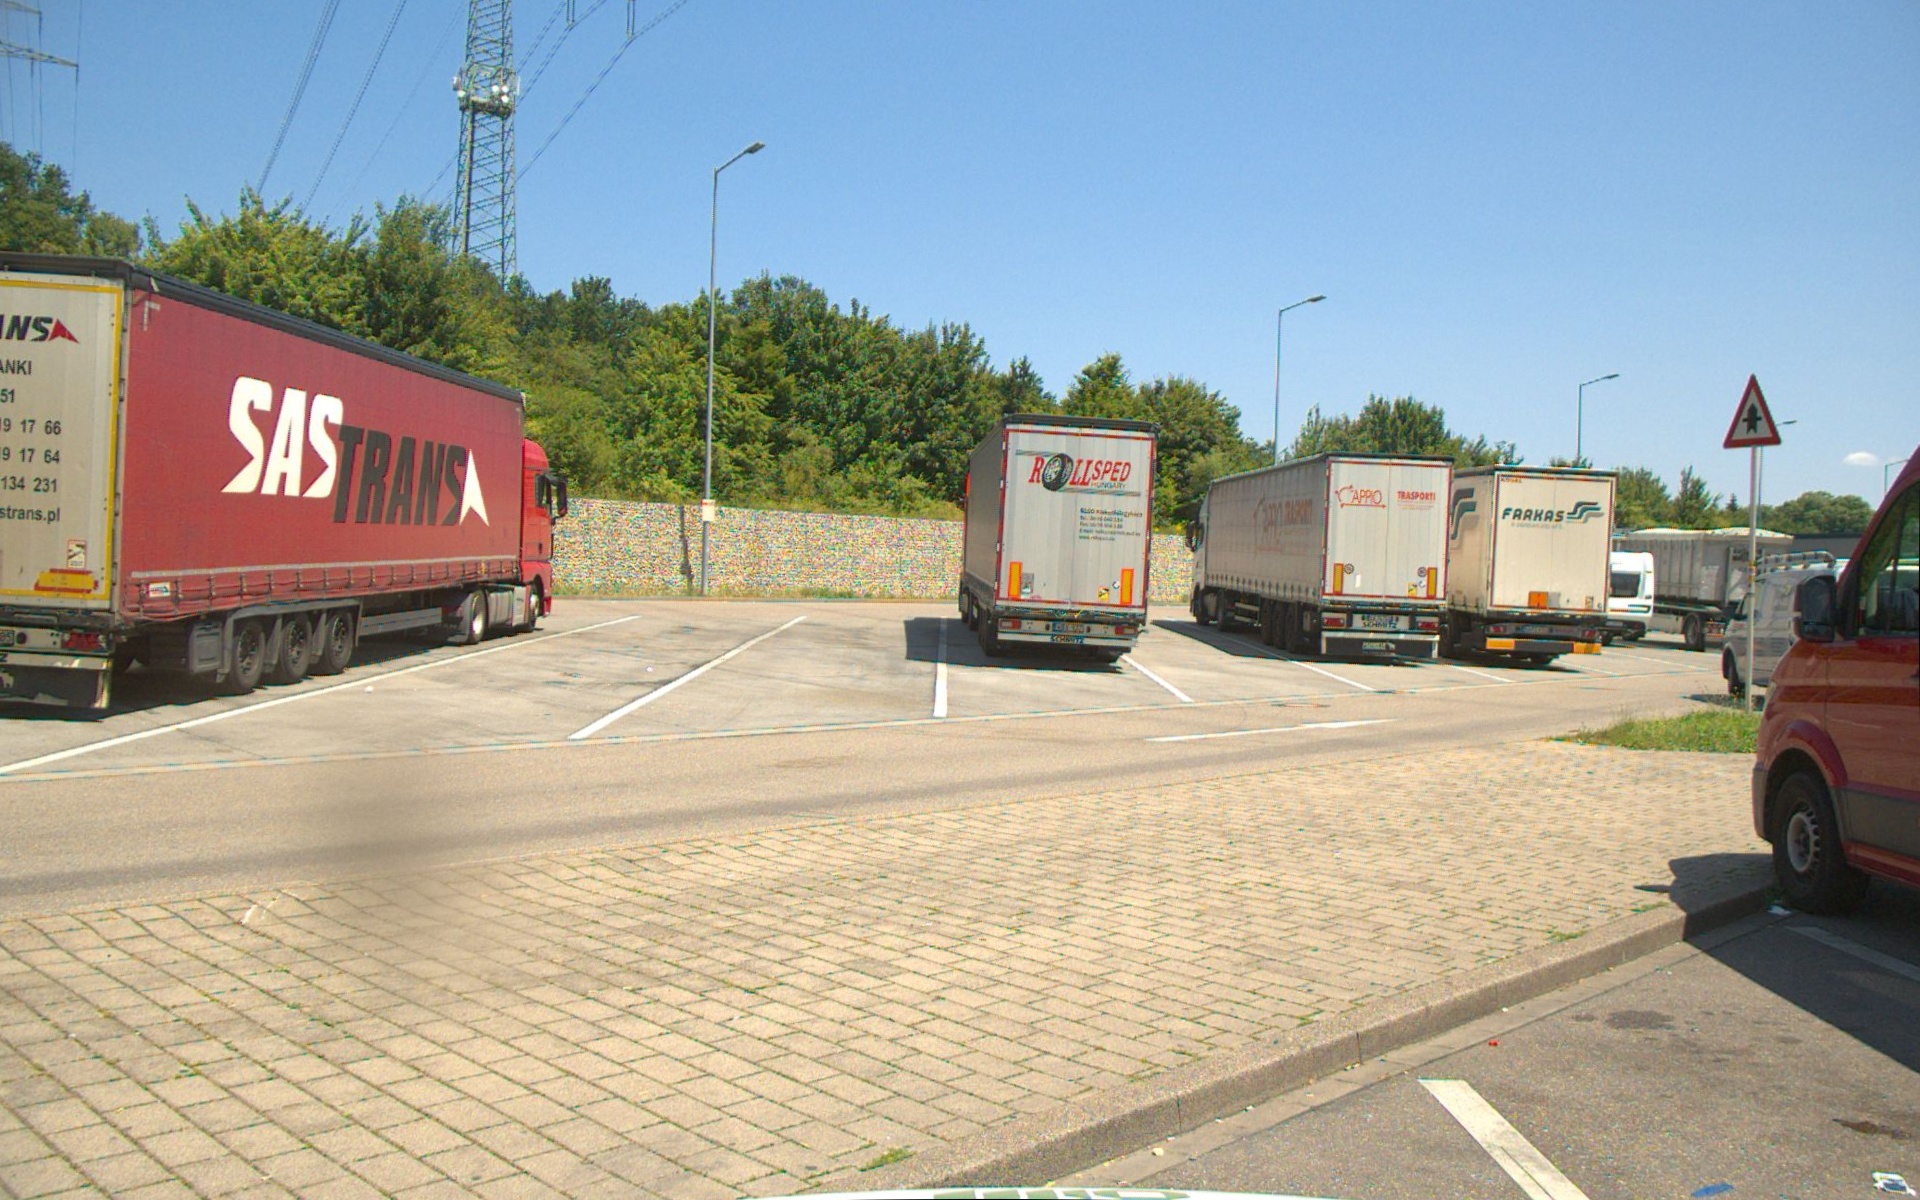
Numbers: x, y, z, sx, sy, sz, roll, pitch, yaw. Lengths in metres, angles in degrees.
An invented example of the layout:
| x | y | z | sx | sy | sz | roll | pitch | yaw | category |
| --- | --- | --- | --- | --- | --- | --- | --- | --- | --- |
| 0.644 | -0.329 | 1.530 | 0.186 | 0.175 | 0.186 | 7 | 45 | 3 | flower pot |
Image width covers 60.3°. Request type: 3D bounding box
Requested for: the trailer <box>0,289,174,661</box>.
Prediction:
| x | y | z | sx | sy | sz | roll | pitch | yaw | category |
| --- | --- | --- | --- | --- | --- | --- | --- | --- | --- |
| -12.557 | -1.404 | 17.159 | 2.756 | 4.341 | 12.940 | 2 | 2 | -1 | trailer |

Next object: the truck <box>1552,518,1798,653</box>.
| x | y | z | sx | sy | sz | roll | pitch | yaw | category |
| --- | --- | --- | --- | --- | --- | --- | --- | --- | --- |
| 21.735 | -0.648 | 51.244 | 2.437 | 3.630 | 11.423 | 2 | 2 | -1 | truck |

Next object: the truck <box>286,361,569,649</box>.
| x | y | z | sx | sy | sz | roll | pitch | yaw | category |
| --- | --- | --- | --- | --- | --- | --- | --- | --- | --- |
| -8.709 | -1.527 | 27.875 | 2.641 | 4.184 | 6.239 | 2 | 2 | 0 | truck |

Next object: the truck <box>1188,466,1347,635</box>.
| x | y | z | sx | sy | sz | roll | pitch | yaw | category |
| --- | --- | --- | --- | --- | --- | --- | --- | --- | --- |
| 8.154 | -1.383 | 44.734 | 2.808 | 4.107 | 6.956 | 2 | 2 | -1 | truck |

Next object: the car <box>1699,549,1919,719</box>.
| x | y | z | sx | sy | sz | roll | pitch | yaw | category |
| --- | --- | --- | --- | --- | --- | --- | --- | --- | --- |
| 12.532 | 0.397 | 24.008 | 1.951 | 2.187 | 5.318 | 1 | 1 | 9 | car |

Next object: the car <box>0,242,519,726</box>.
| x | y | z | sx | sy | sz | roll | pitch | yaw | category |
| --- | --- | --- | --- | --- | --- | --- | --- | --- | --- |
| -8.687 | -1.279 | 20.958 | 2.641 | 4.184 | 12.935 | 2 | 2 | 0 | car |

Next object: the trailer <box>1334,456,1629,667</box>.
| x | y | z | sx | sy | sz | roll | pitch | yaw | category |
| --- | --- | --- | --- | --- | --- | --- | --- | --- | --- |
| 11.810 | -1.023 | 39.222 | 2.808 | 4.107 | 12.438 | 2 | 2 | -1 | trailer |

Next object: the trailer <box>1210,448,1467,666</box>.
| x | y | z | sx | sy | sz | roll | pitch | yaw | category |
| --- | --- | --- | --- | --- | --- | --- | --- | --- | --- |
| 8.234 | -1.088 | 38.104 | 2.808 | 4.107 | 12.438 | 2 | 2 | -1 | trailer |

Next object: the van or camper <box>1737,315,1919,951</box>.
| x | y | z | sx | sy | sz | roll | pitch | yaw | category |
| --- | --- | --- | --- | --- | --- | --- | --- | --- | --- |
| 4.980 | 0.174 | 5.558 | 1.954 | 2.700 | 6.482 | 1 | 1 | 3 | van or camper |

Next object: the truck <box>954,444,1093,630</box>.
| x | y | z | sx | sy | sz | roll | pitch | yaw | category |
| --- | --- | --- | --- | --- | --- | --- | --- | --- | --- |
| 1.411 | -1.564 | 40.749 | 2.809 | 4.107 | 7.026 | 2 | 2 | -2 | truck |

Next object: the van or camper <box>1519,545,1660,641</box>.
| x | y | z | sx | sy | sz | roll | pitch | yaw | category |
| --- | --- | --- | --- | --- | --- | --- | --- | --- | --- |
| 18.261 | -0.238 | 48.293 | 2.061 | 2.606 | 5.372 | 1 | 1 | 0 | van or camper |

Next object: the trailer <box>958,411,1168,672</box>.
| x | y | z | sx | sy | sz | roll | pitch | yaw | category |
| --- | --- | --- | --- | --- | --- | --- | --- | --- | --- |
| 1.642 | -1.238 | 33.668 | 2.809 | 4.107 | 14.238 | 2 | 2 | -2 | trailer |

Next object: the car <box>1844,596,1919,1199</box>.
| x | y | z | sx | sy | sz | roll | pitch | yaw | category |
| --- | --- | --- | --- | --- | --- | --- | --- | --- | --- |
| 2.531 | 0.795 | 1.110 | 1.584 | 1.509 | 3.762 | 1 | 1 | -6 | car |

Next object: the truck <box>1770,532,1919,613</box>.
| x | y | z | sx | sy | sz | roll | pitch | yaw | category |
| --- | --- | --- | --- | --- | --- | --- | --- | --- | --- |
| 34.688 | -1.067 | 63.637 | 2.082 | 2.869 | 9.777 | 1 | 1 | -1 | truck |
